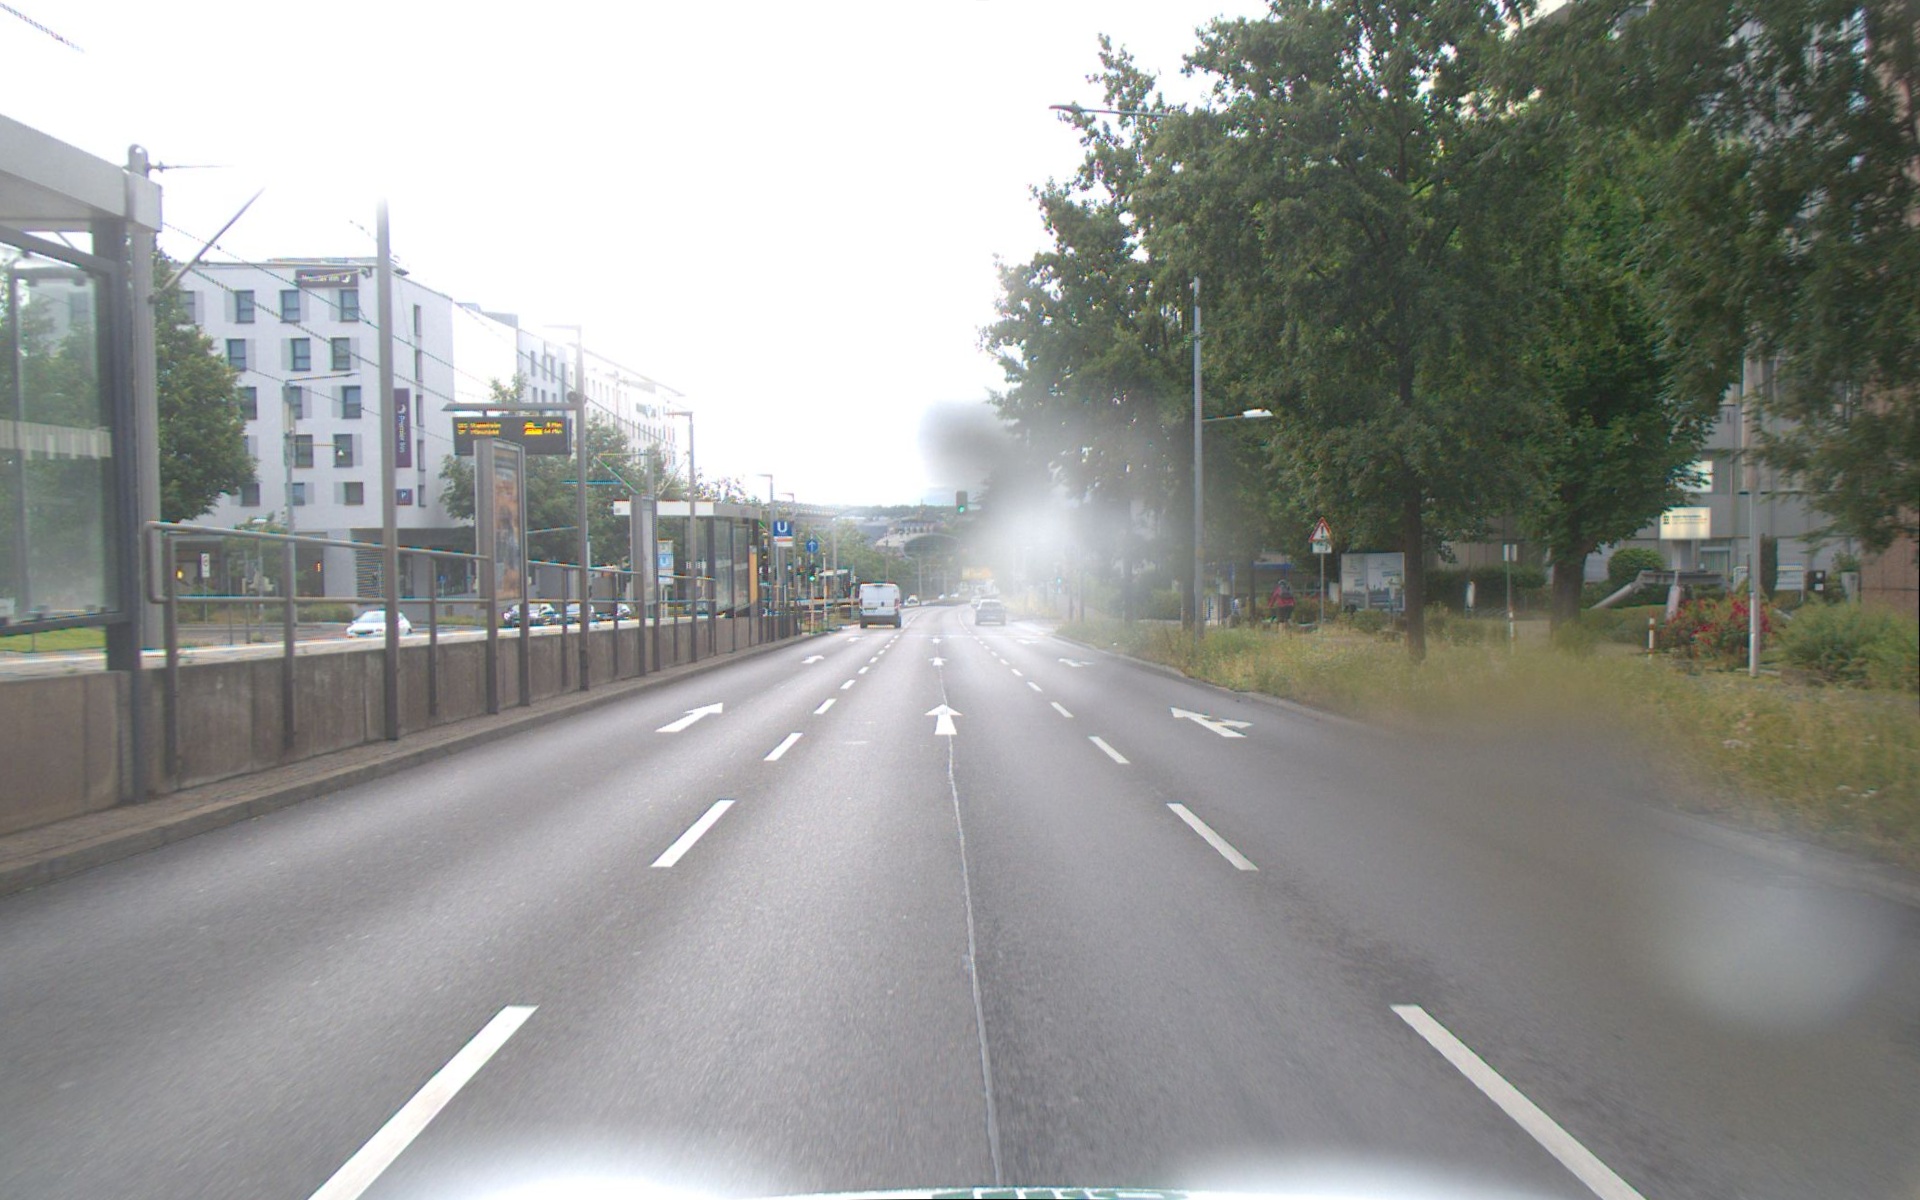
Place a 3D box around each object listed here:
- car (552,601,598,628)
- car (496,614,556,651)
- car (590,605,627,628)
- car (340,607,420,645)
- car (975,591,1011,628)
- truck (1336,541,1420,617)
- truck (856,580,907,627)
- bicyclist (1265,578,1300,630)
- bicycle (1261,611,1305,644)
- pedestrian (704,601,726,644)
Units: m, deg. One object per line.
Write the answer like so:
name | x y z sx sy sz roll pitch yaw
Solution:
car | -22.359 0.799 96.291 1.816 1.452 4.386 -2 0 -3
car | -22.286 1.636 85.073 1.953 1.806 4.388 0 0 -1
car | -22.982 1.043 108.234 1.693 1.448 3.778 -1 0 -1
car | -25.007 1.109 71.476 1.954 1.544 4.704 1 0 -3
car | 1.913 0.543 95.949 1.952 2.049 3.935 1 0 3
truck | 14.859 -0.711 58.965 1.712 2.562 3.996 1 0 -4
truck | -4.029 0.183 86.228 2.312 2.301 5.306 1 0 1
bicyclist | 8.425 0.100 43.255 0.642 1.311 1.219 2 0 -1
bicycle | 8.421 0.705 43.243 0.654 0.823 2.318 1 0 -1
pedestrian | -9.840 0.900 66.400 0.693 1.679 0.643 0 0 -30
